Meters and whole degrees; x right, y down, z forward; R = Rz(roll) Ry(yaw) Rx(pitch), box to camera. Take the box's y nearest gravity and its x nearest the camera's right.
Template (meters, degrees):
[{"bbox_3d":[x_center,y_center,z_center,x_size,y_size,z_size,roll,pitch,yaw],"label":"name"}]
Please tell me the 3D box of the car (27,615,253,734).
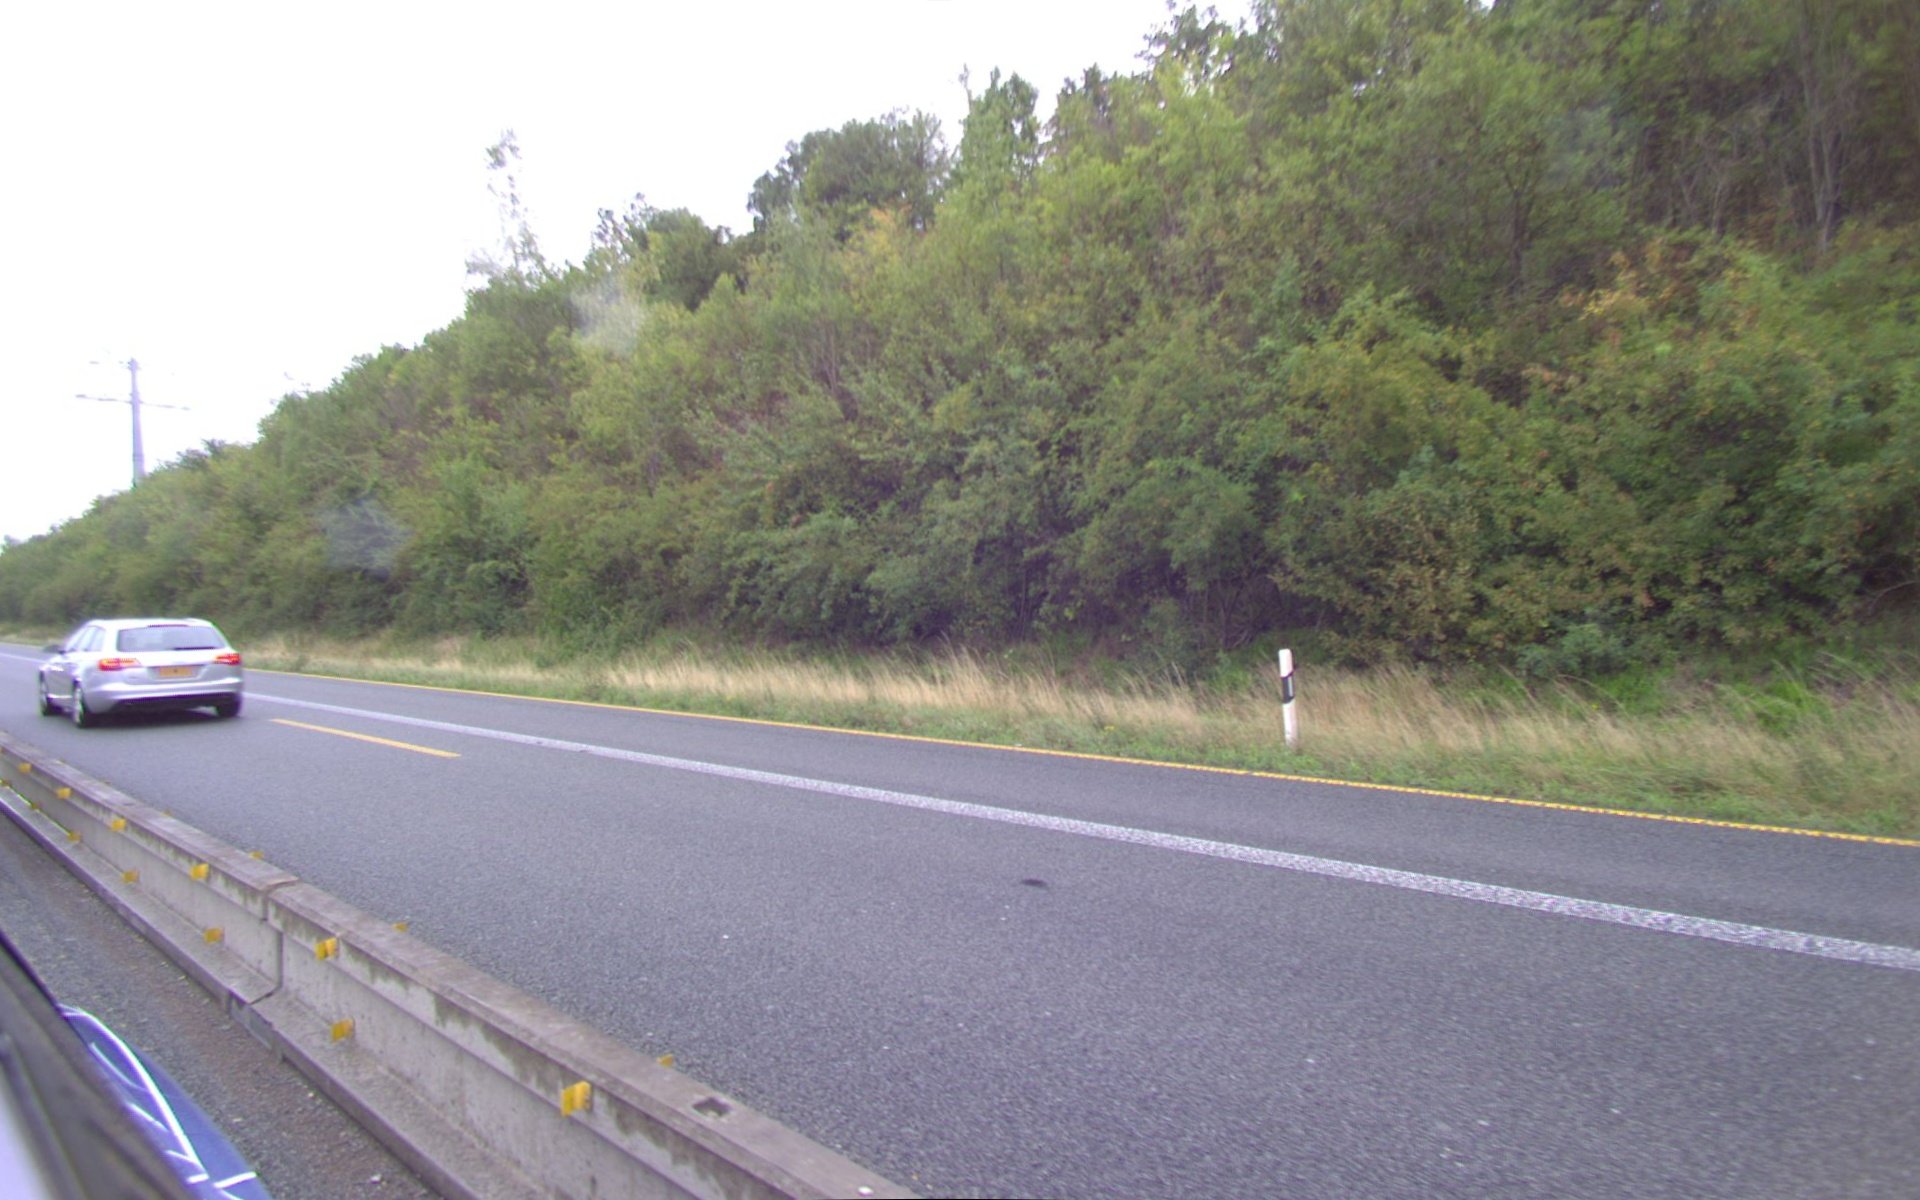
[{"bbox_3d":[-11.995,0.964,14.708,4.324,1.454,1.762,-1,0,40],"label":"car"}]
